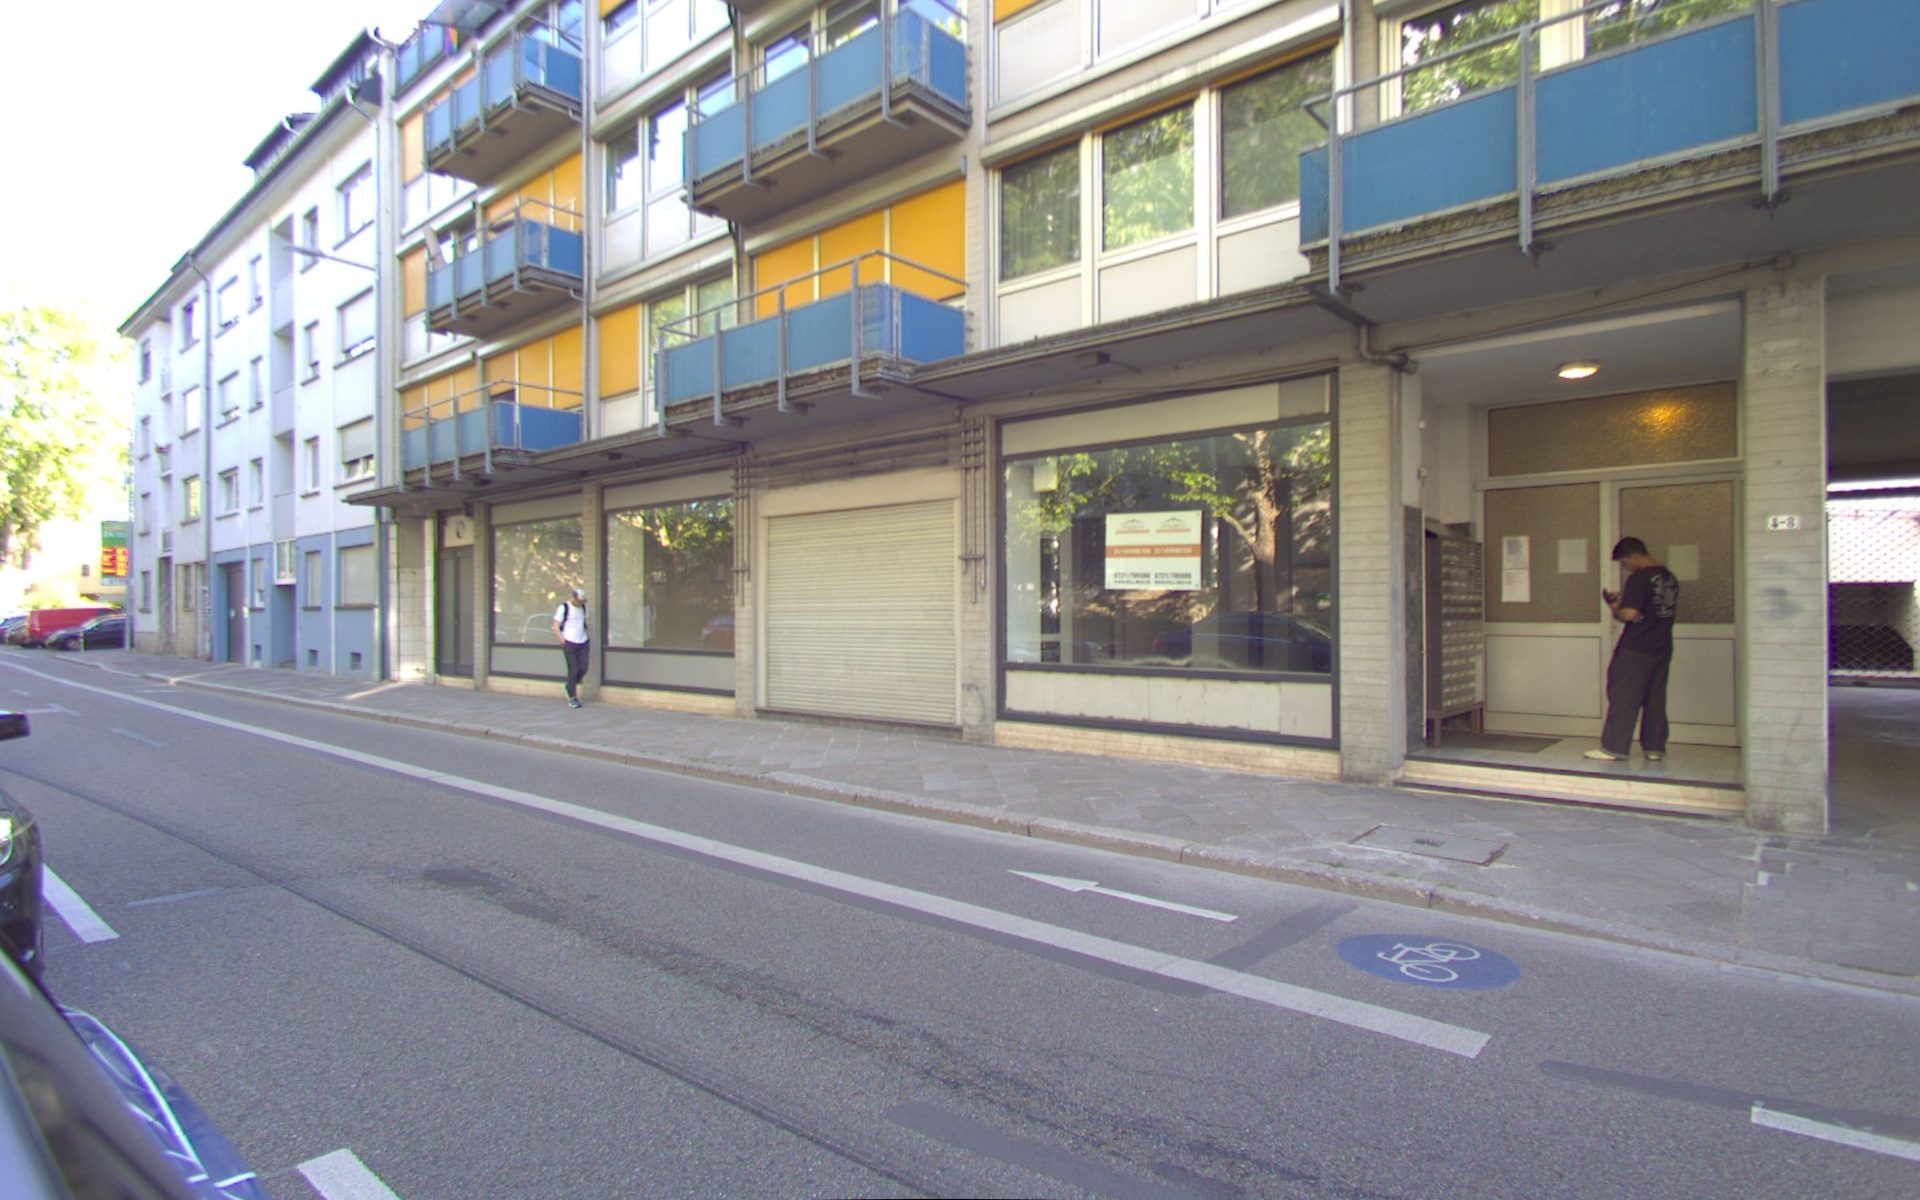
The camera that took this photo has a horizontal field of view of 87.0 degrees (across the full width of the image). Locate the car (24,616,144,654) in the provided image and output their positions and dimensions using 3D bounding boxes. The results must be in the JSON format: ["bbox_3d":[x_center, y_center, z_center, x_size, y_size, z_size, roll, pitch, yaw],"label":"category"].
[{"bbox_3d":[-41.615,1.618,48.149,1.999,1.703,4.093,-1,-1,41],"label":"car"}]

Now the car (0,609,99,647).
[{"bbox_3d":[-55.384,1.669,61.133,1.999,2.210,4.927,-1,-1,41],"label":"car"}]

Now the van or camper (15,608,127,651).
[{"bbox_3d":[-43.871,1.429,49.991,1.999,2.029,3.946,-1,-1,40],"label":"van or camper"}]

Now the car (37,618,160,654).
[{"bbox_3d":[-39.734,1.630,46.764,1.999,1.506,4.093,-1,-1,41],"label":"car"}]

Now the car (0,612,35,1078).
[{"bbox_3d":[-4.998,0.801,3.847,3.861,1.467,1.718,-1,-1,40],"label":"car"}]

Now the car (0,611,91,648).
[{"bbox_3d":[-57.377,1.819,62.843,1.999,2.210,4.927,-1,-1,41],"label":"car"}]

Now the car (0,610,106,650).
[{"bbox_3d":[-53.296,1.734,59.182,1.999,2.210,4.927,-1,-1,41],"label":"car"}]

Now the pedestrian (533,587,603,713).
[{"bbox_3d":[-5.906,0.732,15.241,0.879,1.813,0.593,-1,0,42],"label":"pedestrian"}]

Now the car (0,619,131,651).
[{"bbox_3d":[-45.703,1.749,51.683,1.999,1.506,4.927,-1,-1,41],"label":"car"}]

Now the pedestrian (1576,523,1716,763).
[{"bbox_3d":[5.174,0.309,7.649,0.650,1.726,0.550,0,-1,-16],"label":"pedestrian"}]
